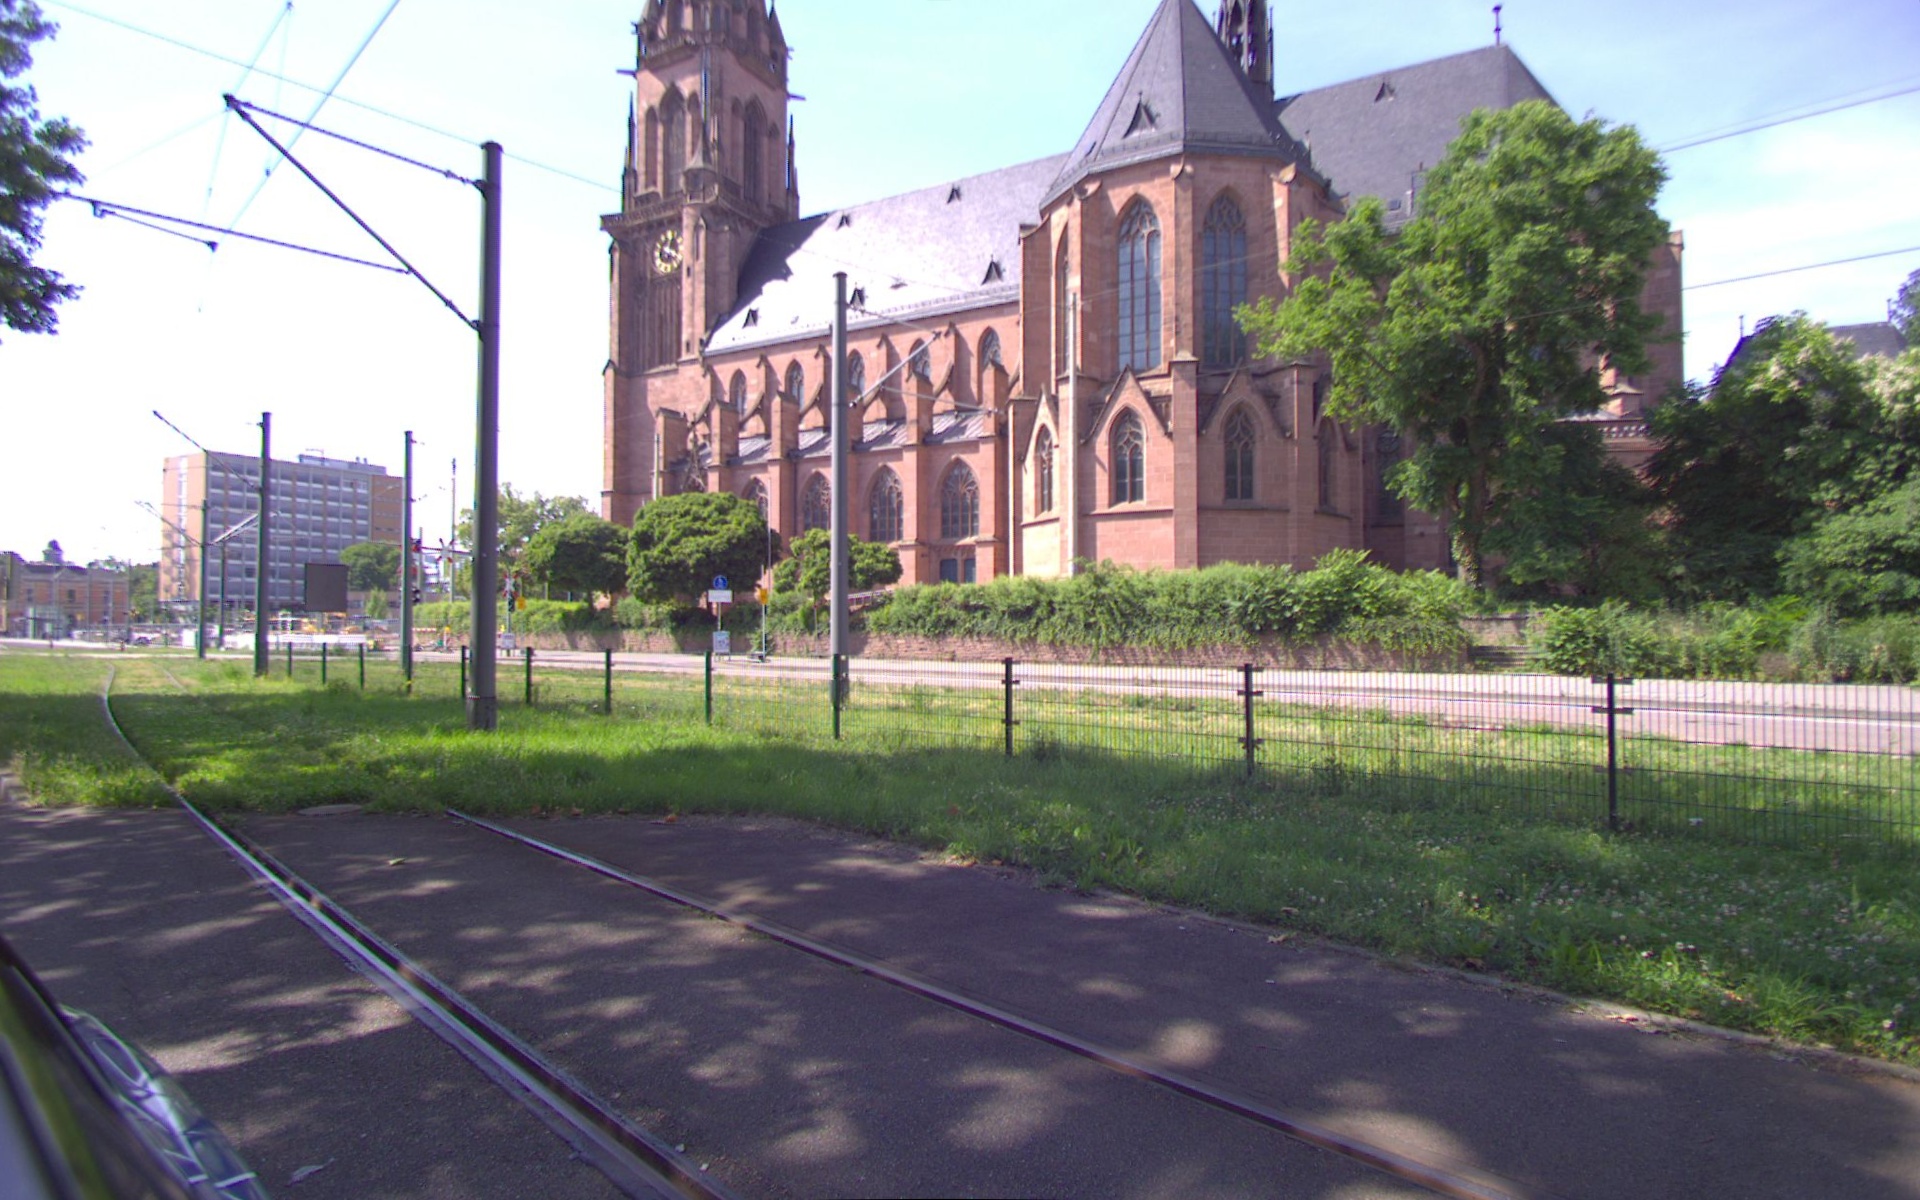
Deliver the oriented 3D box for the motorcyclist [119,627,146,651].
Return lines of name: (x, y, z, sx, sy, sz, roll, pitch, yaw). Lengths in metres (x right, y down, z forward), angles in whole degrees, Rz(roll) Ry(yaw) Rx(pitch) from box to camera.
motorcyclist: (-68.097, 3.209, 83.292, 1.091, 1.945, 1.335, 0, -2, -6)

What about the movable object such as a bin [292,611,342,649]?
movable object such as a bin: (-67.139, 3.151, 105.757, 2.904, 3.911, 3.327, 0, -2, 8)

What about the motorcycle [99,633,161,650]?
motorcycle: (-68.224, 3.438, 83.260, 3.876, 1.349, 1.247, 0, -2, -7)
